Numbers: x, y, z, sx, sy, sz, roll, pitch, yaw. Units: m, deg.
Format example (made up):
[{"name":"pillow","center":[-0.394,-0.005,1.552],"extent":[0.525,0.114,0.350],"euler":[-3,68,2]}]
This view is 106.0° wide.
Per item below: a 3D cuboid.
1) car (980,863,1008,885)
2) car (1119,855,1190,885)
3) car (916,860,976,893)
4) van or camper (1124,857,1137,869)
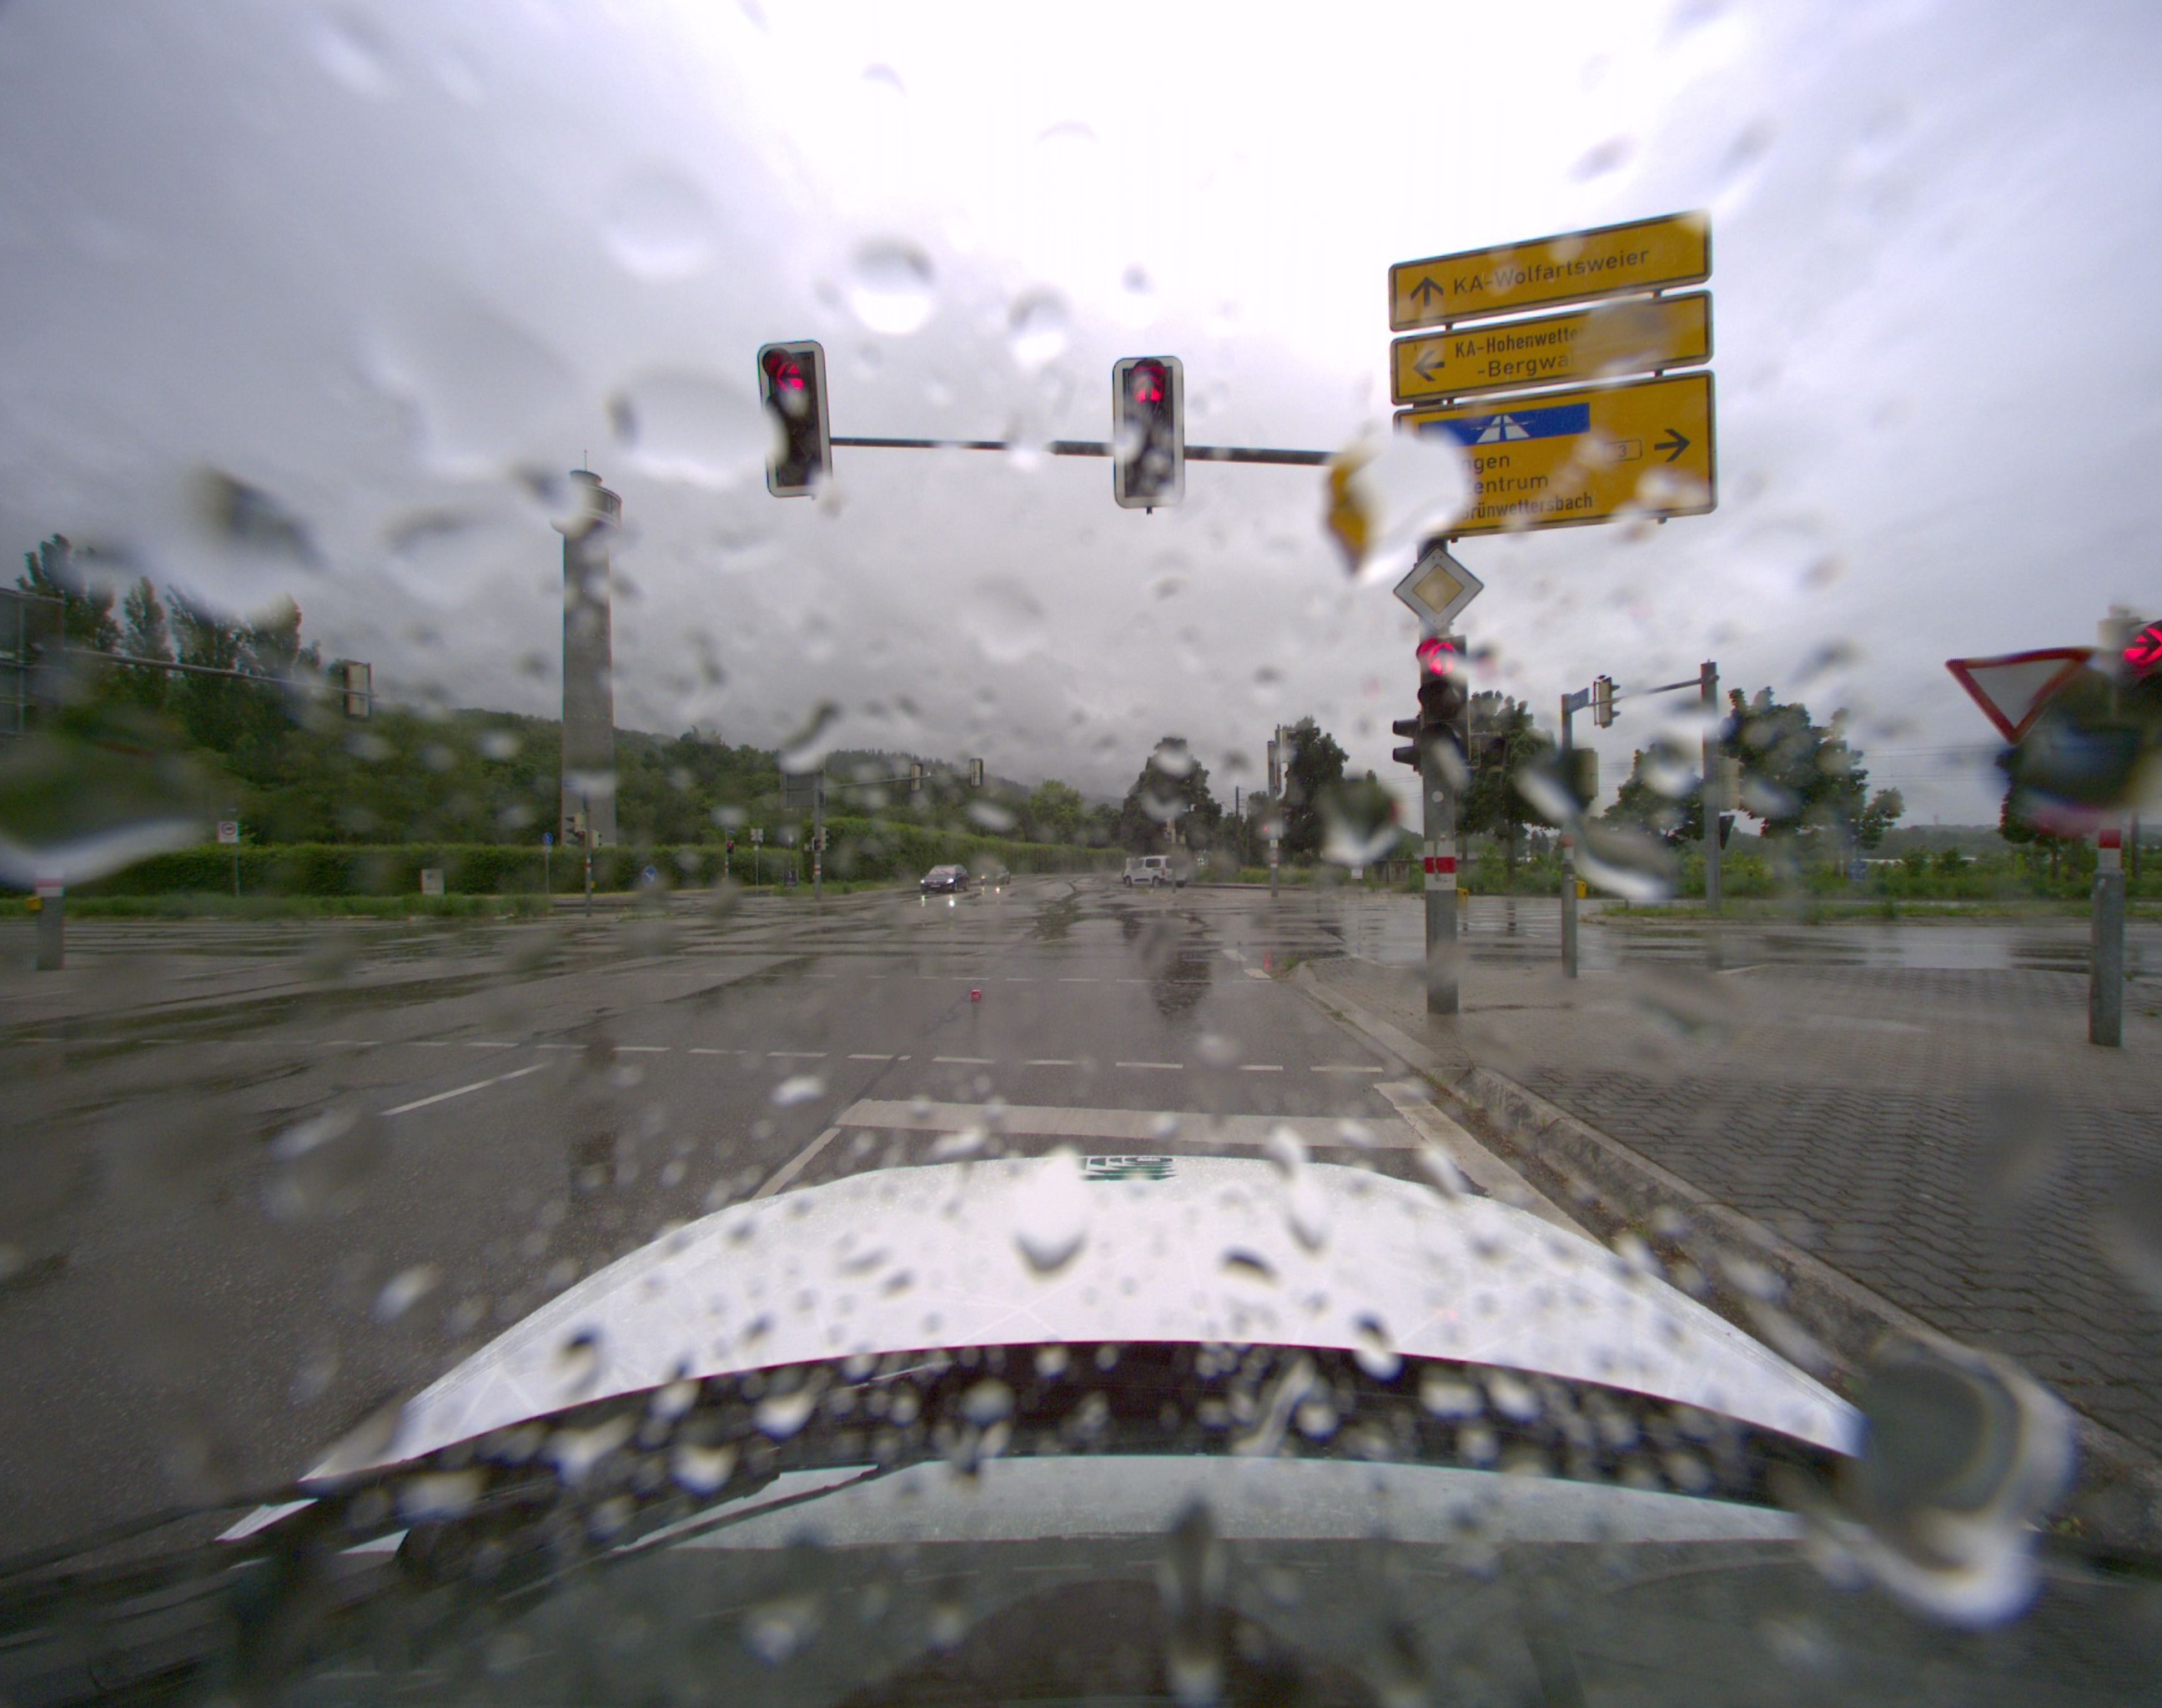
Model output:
[{"name":"car","center":[-6.264,1.433,59.072],"extent":[1.552,1.481,3.363],"euler":[-1,0,2]},{"name":"car","center":[4.096,0.876,45.936],"extent":[1.828,1.553,4.306],"euler":[-1,0,-30]},{"name":"car","center":[-7.211,1.184,44.072],"extent":[1.869,1.573,4.654],"euler":[-3,-1,7]},{"name":"van or camper","center":[8.685,1.565,142.976],"extent":[2.145,2.169,4.867],"euler":[-1,0,2]}]
